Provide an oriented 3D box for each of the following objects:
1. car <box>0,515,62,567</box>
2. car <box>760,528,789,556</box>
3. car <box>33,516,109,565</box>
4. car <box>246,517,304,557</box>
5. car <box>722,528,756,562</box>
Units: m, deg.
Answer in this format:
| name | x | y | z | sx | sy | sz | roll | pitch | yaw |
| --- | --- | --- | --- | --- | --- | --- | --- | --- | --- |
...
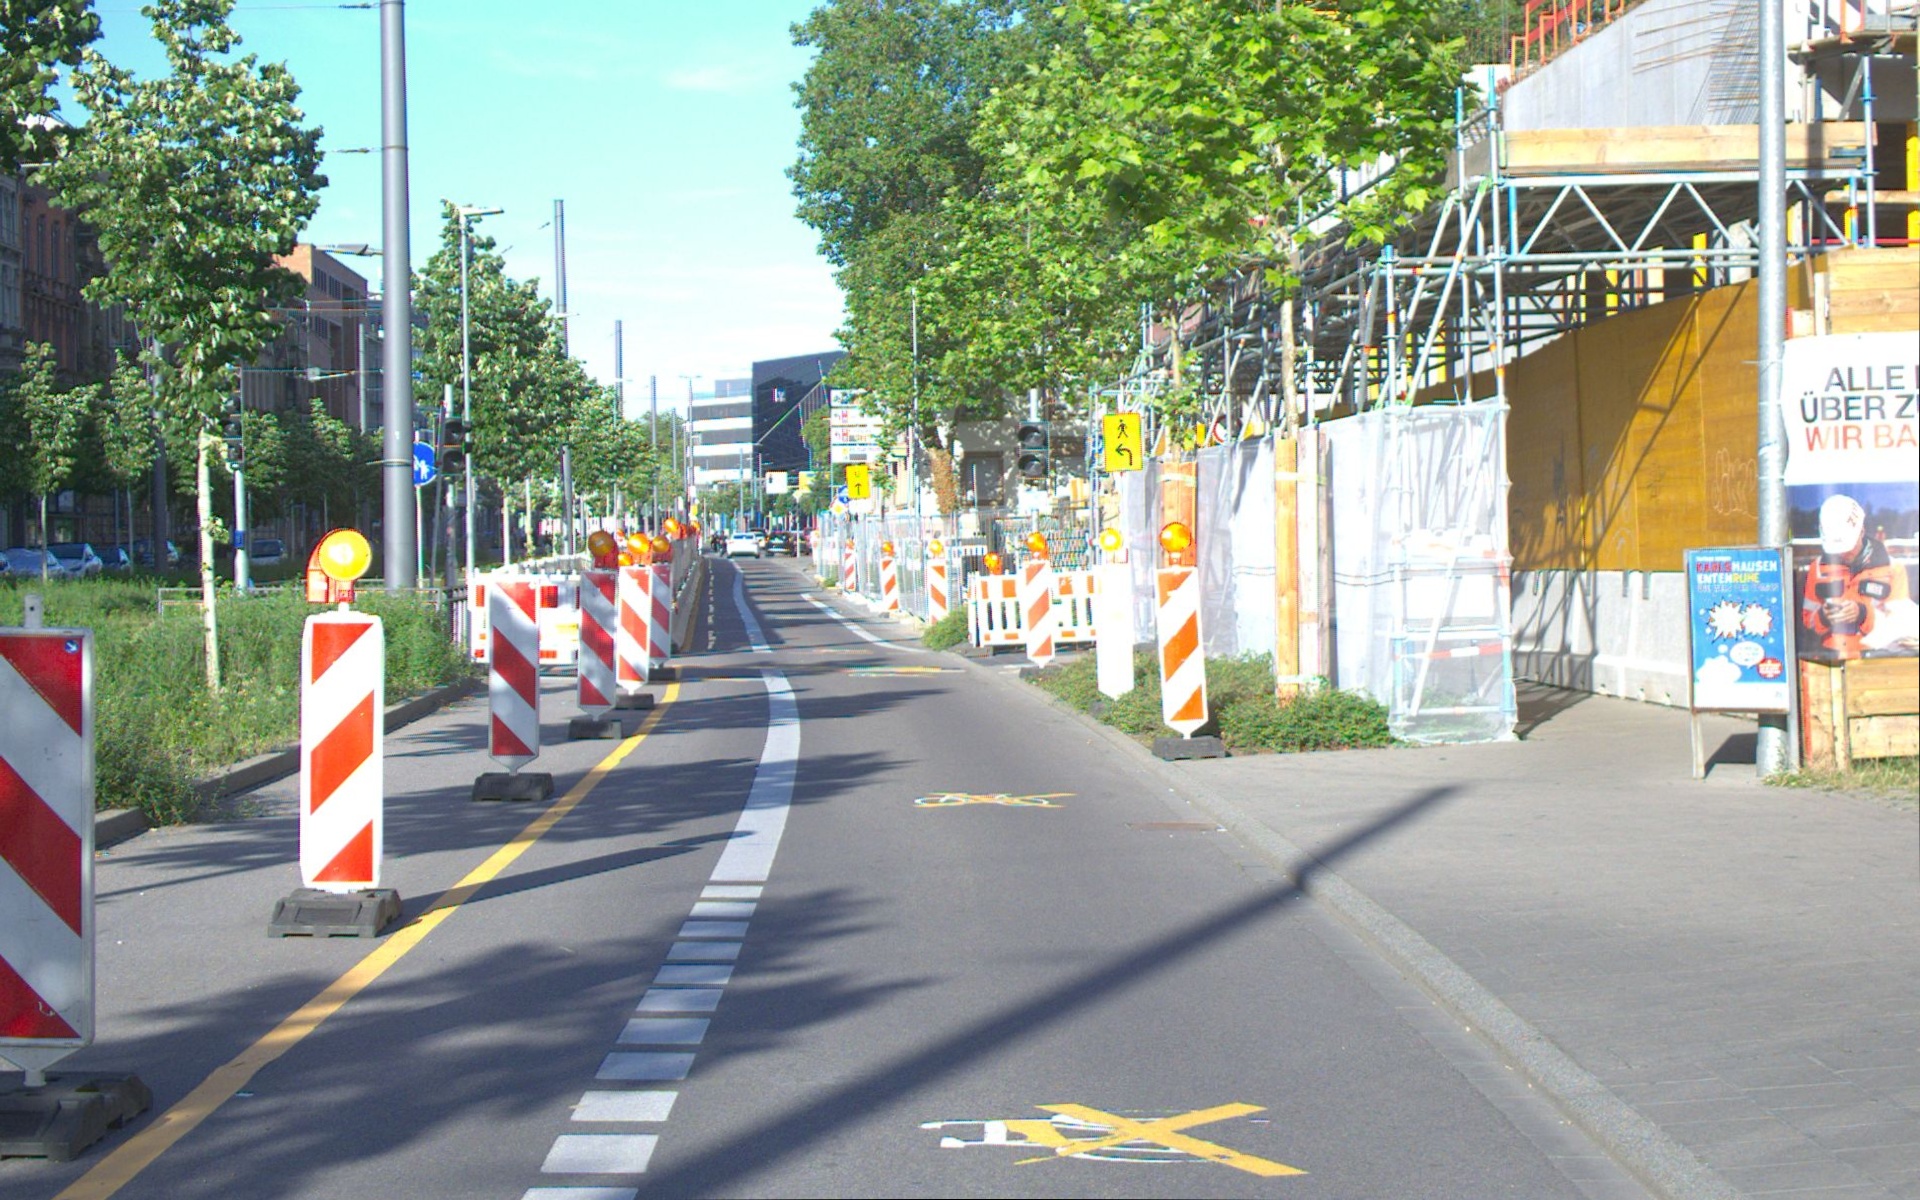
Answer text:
| name | x | y | z | sx | sy | sz | roll | pitch | yaw |
| --- | --- | --- | --- | --- | --- | --- | --- | --- | --- |
| car | -29.010 | -1.846 | 106.173 | 1.566 | 1.557 | 4.715 | -1 | 1 | -4 |
| car | -12.600 | -3.950 | 232.998 | 1.883 | 1.836 | 3.668 | -1 | 1 | -4 |
| car | -29.107 | -1.968 | 112.647 | 1.566 | 1.557 | 4.715 | -1 | 1 | -4 |
| car | -25.921 | -2.403 | 130.200 | 1.594 | 1.478 | 3.624 | 0 | 1 | -2 |
| car | -12.464 | -3.111 | 194.094 | 1.883 | 1.836 | 3.668 | -1 | 1 | -4 |
